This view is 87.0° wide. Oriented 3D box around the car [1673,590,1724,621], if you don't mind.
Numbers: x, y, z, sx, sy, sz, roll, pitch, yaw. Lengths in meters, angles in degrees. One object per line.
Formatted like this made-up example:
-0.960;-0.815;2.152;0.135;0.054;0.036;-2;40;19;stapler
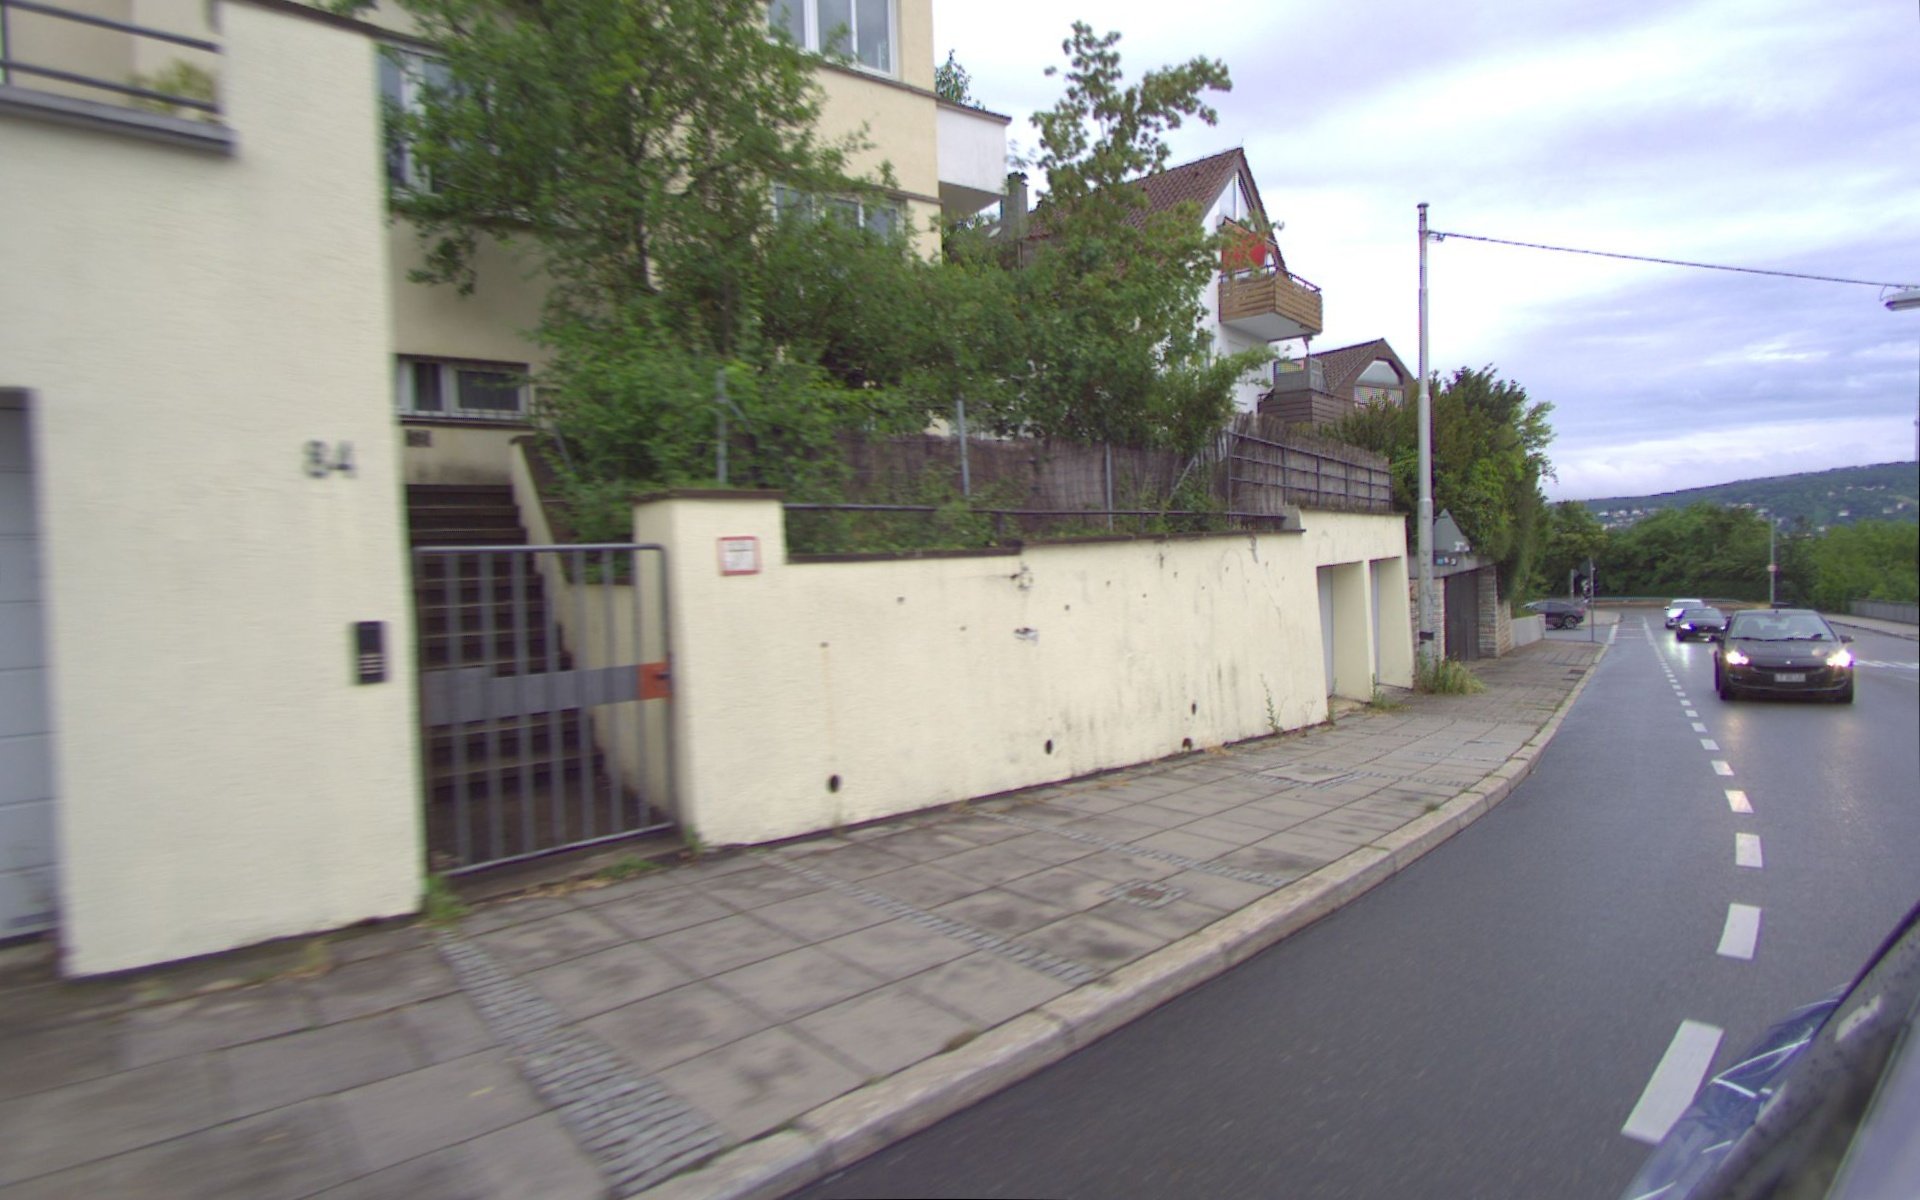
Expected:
41.122;0.304;56.469;1.875;1.595;4.543;-1;1;31;car

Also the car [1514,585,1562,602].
56.958;-0.683;99.772;1.703;1.564;4.009;0;2;-18;car

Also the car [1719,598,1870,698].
13.735;0.715;16.836;1.671;1.431;3.590;-1;0;36;car

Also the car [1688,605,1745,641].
33.332;0.980;44.690;1.755;1.472;4.347;0;0;33;car

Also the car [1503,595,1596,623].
34.018;0.496;58.509;4.134;1.542;1.994;-1;0;10;car
